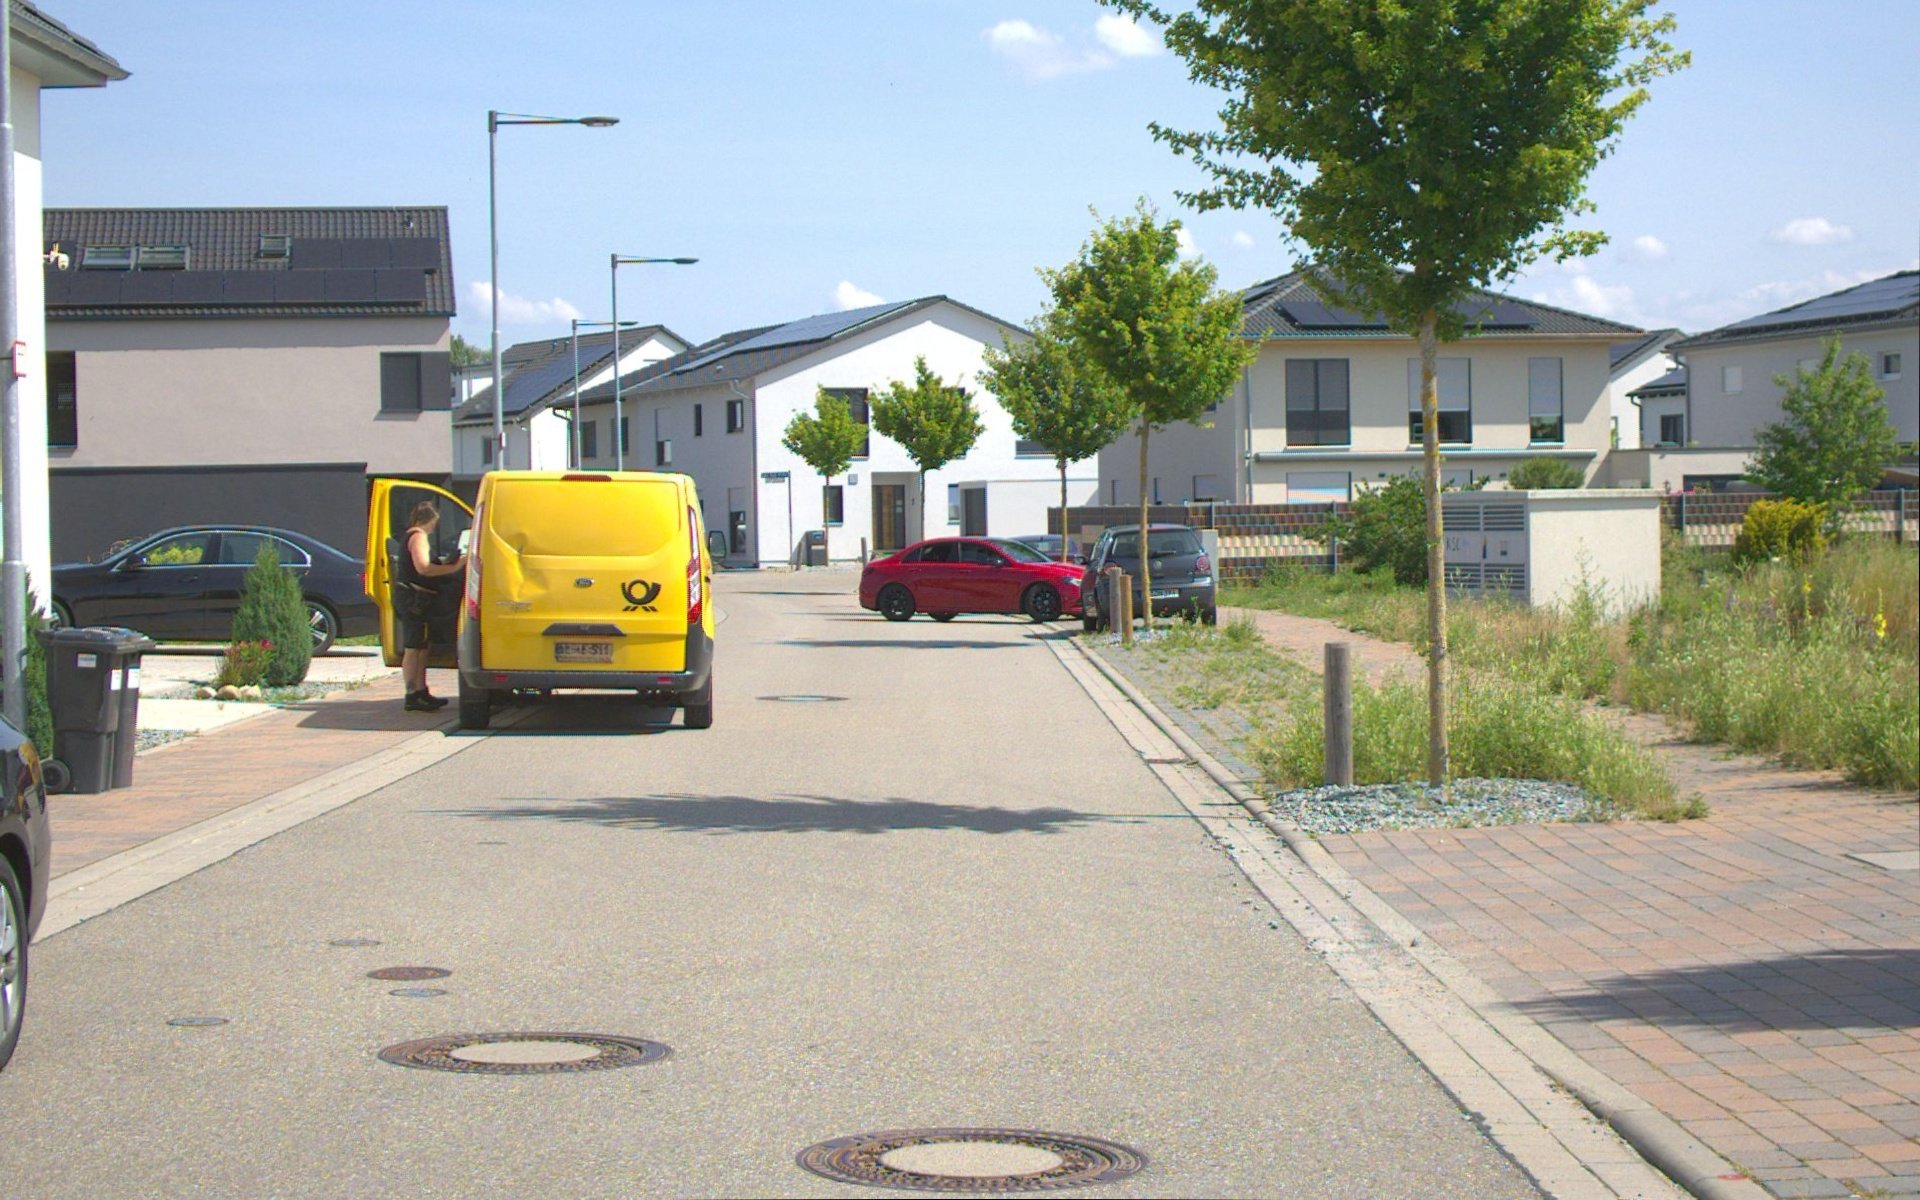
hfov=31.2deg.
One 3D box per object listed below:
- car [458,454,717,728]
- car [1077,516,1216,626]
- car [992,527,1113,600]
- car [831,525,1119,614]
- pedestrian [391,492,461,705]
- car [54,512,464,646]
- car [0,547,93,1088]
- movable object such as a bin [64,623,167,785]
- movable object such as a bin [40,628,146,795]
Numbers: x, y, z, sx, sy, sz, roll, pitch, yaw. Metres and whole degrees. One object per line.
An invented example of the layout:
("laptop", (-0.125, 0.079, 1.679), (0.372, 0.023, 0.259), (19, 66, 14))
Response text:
("car", (-2.977, -0.109, 28.086), (1.883, 2.007, 4.842), (1, 1, -5))
("car", (2.556, -0.433, 47.703), (1.598, 1.470, 3.675), (0, 1, -2))
("car", (1.758, -0.733, 66.781), (1.754, 1.358, 4.577), (0, 1, -6))
("car", (0.237, -0.532, 57.378), (4.512, 1.433, 1.765), (1, 1, 29))
("pedestrian", (-4.393, -0.021, 28.315), (0.531, 1.732, 0.570), (1, 1, -7))
("car", (-7.830, -0.245, 38.387), (4.391, 1.447, 1.750), (0, 1, -14))
("car", (-3.444, 0.603, 8.020), (1.690, 1.467, 4.445), (2, 1, 0))
("movable object such as a bin", (-4.978, 0.610, 20.283), (0.486, 0.922, 0.530), (-1, 1, -3))
("movable object such as a bin", (-4.971, 0.633, 19.732), (0.486, 0.922, 0.530), (-1, 1, -3))
